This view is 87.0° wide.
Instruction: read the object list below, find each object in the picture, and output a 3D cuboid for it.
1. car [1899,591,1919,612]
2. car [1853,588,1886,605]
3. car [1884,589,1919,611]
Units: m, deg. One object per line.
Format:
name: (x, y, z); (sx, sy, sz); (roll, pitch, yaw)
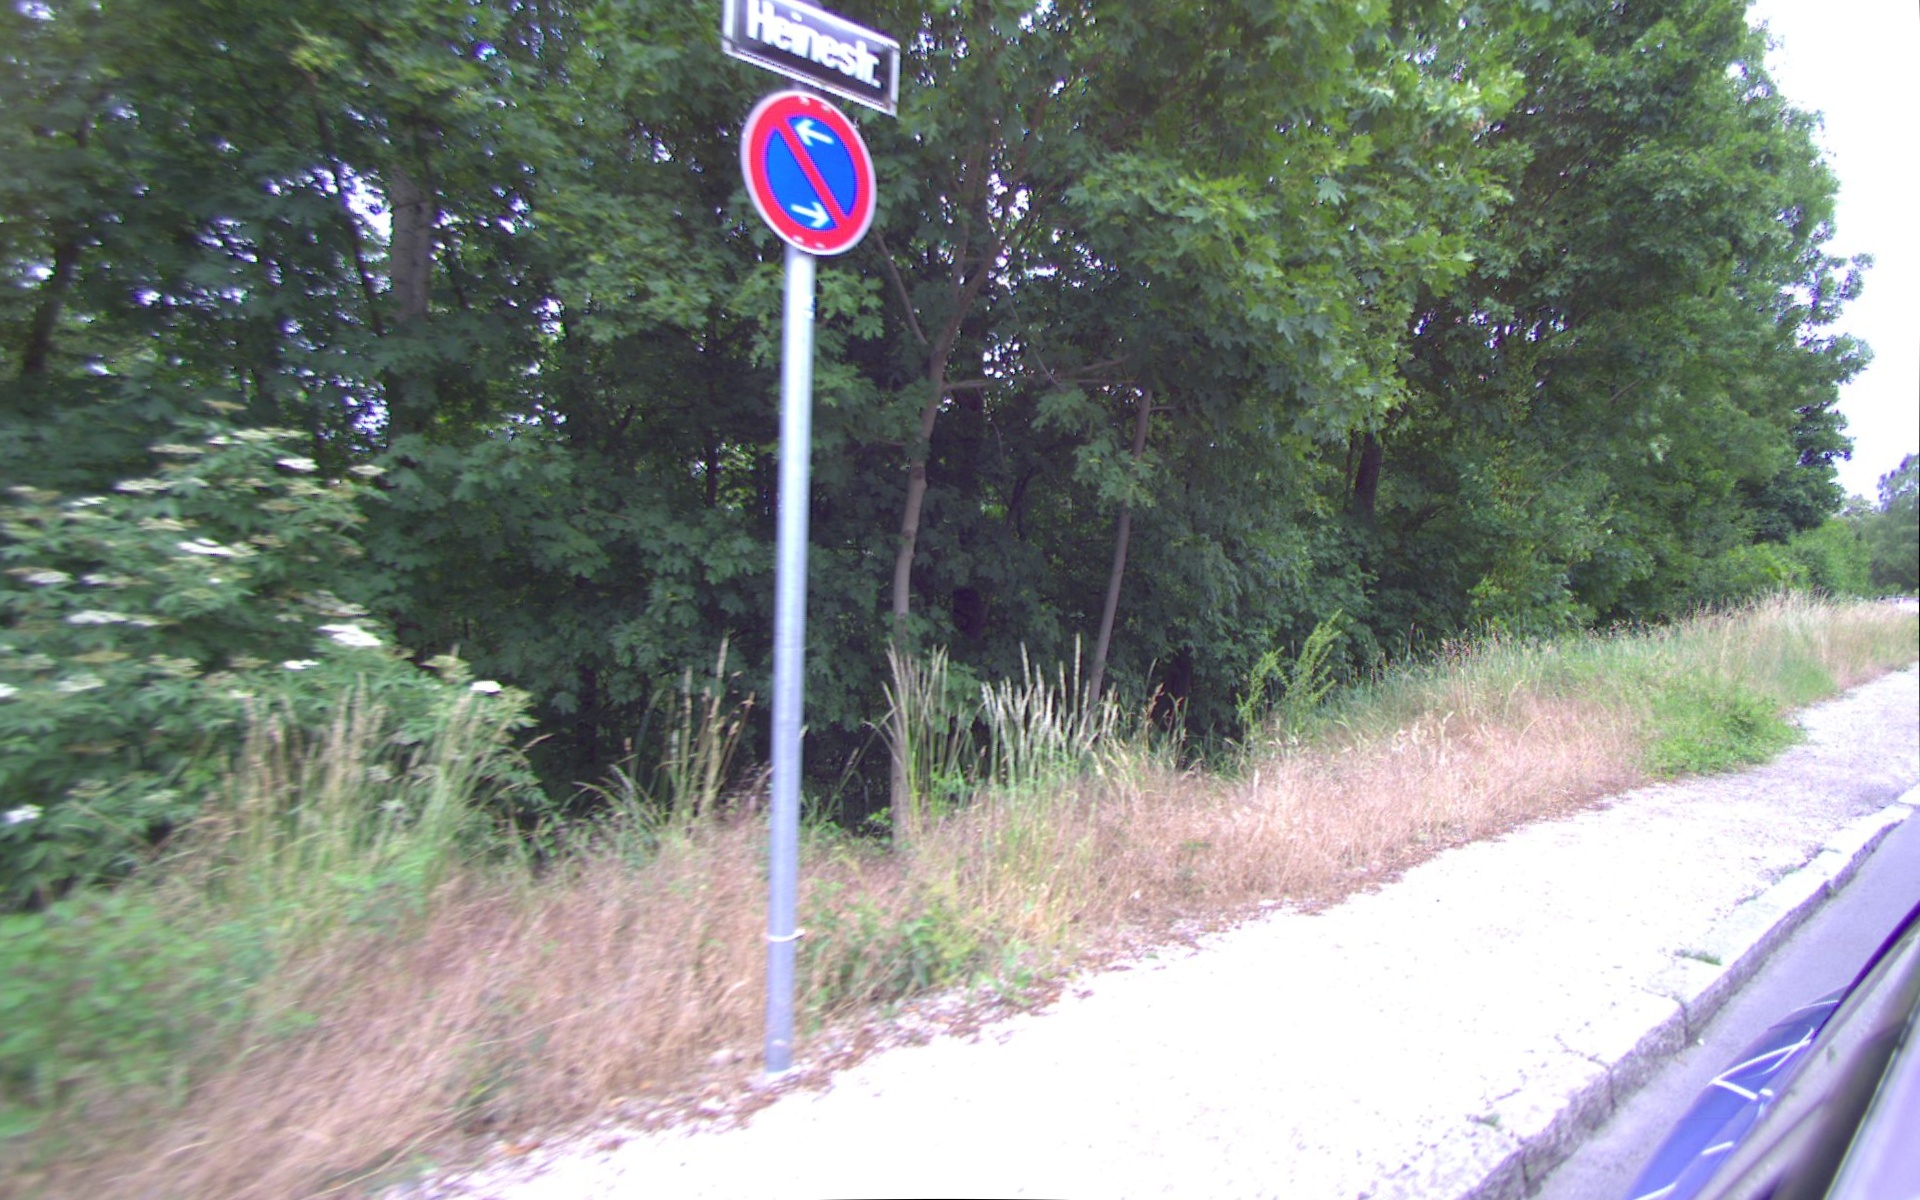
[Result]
car: (72.459, 0.078, 76.337); (1.700, 1.530, 3.899); (0, 1, 33)
car: (83.446, -0.301, 92.883); (1.701, 1.530, 4.496); (0, 1, 35)
car: (74.782, -0.016, 80.109); (1.785, 1.685, 4.339); (0, 1, 33)
